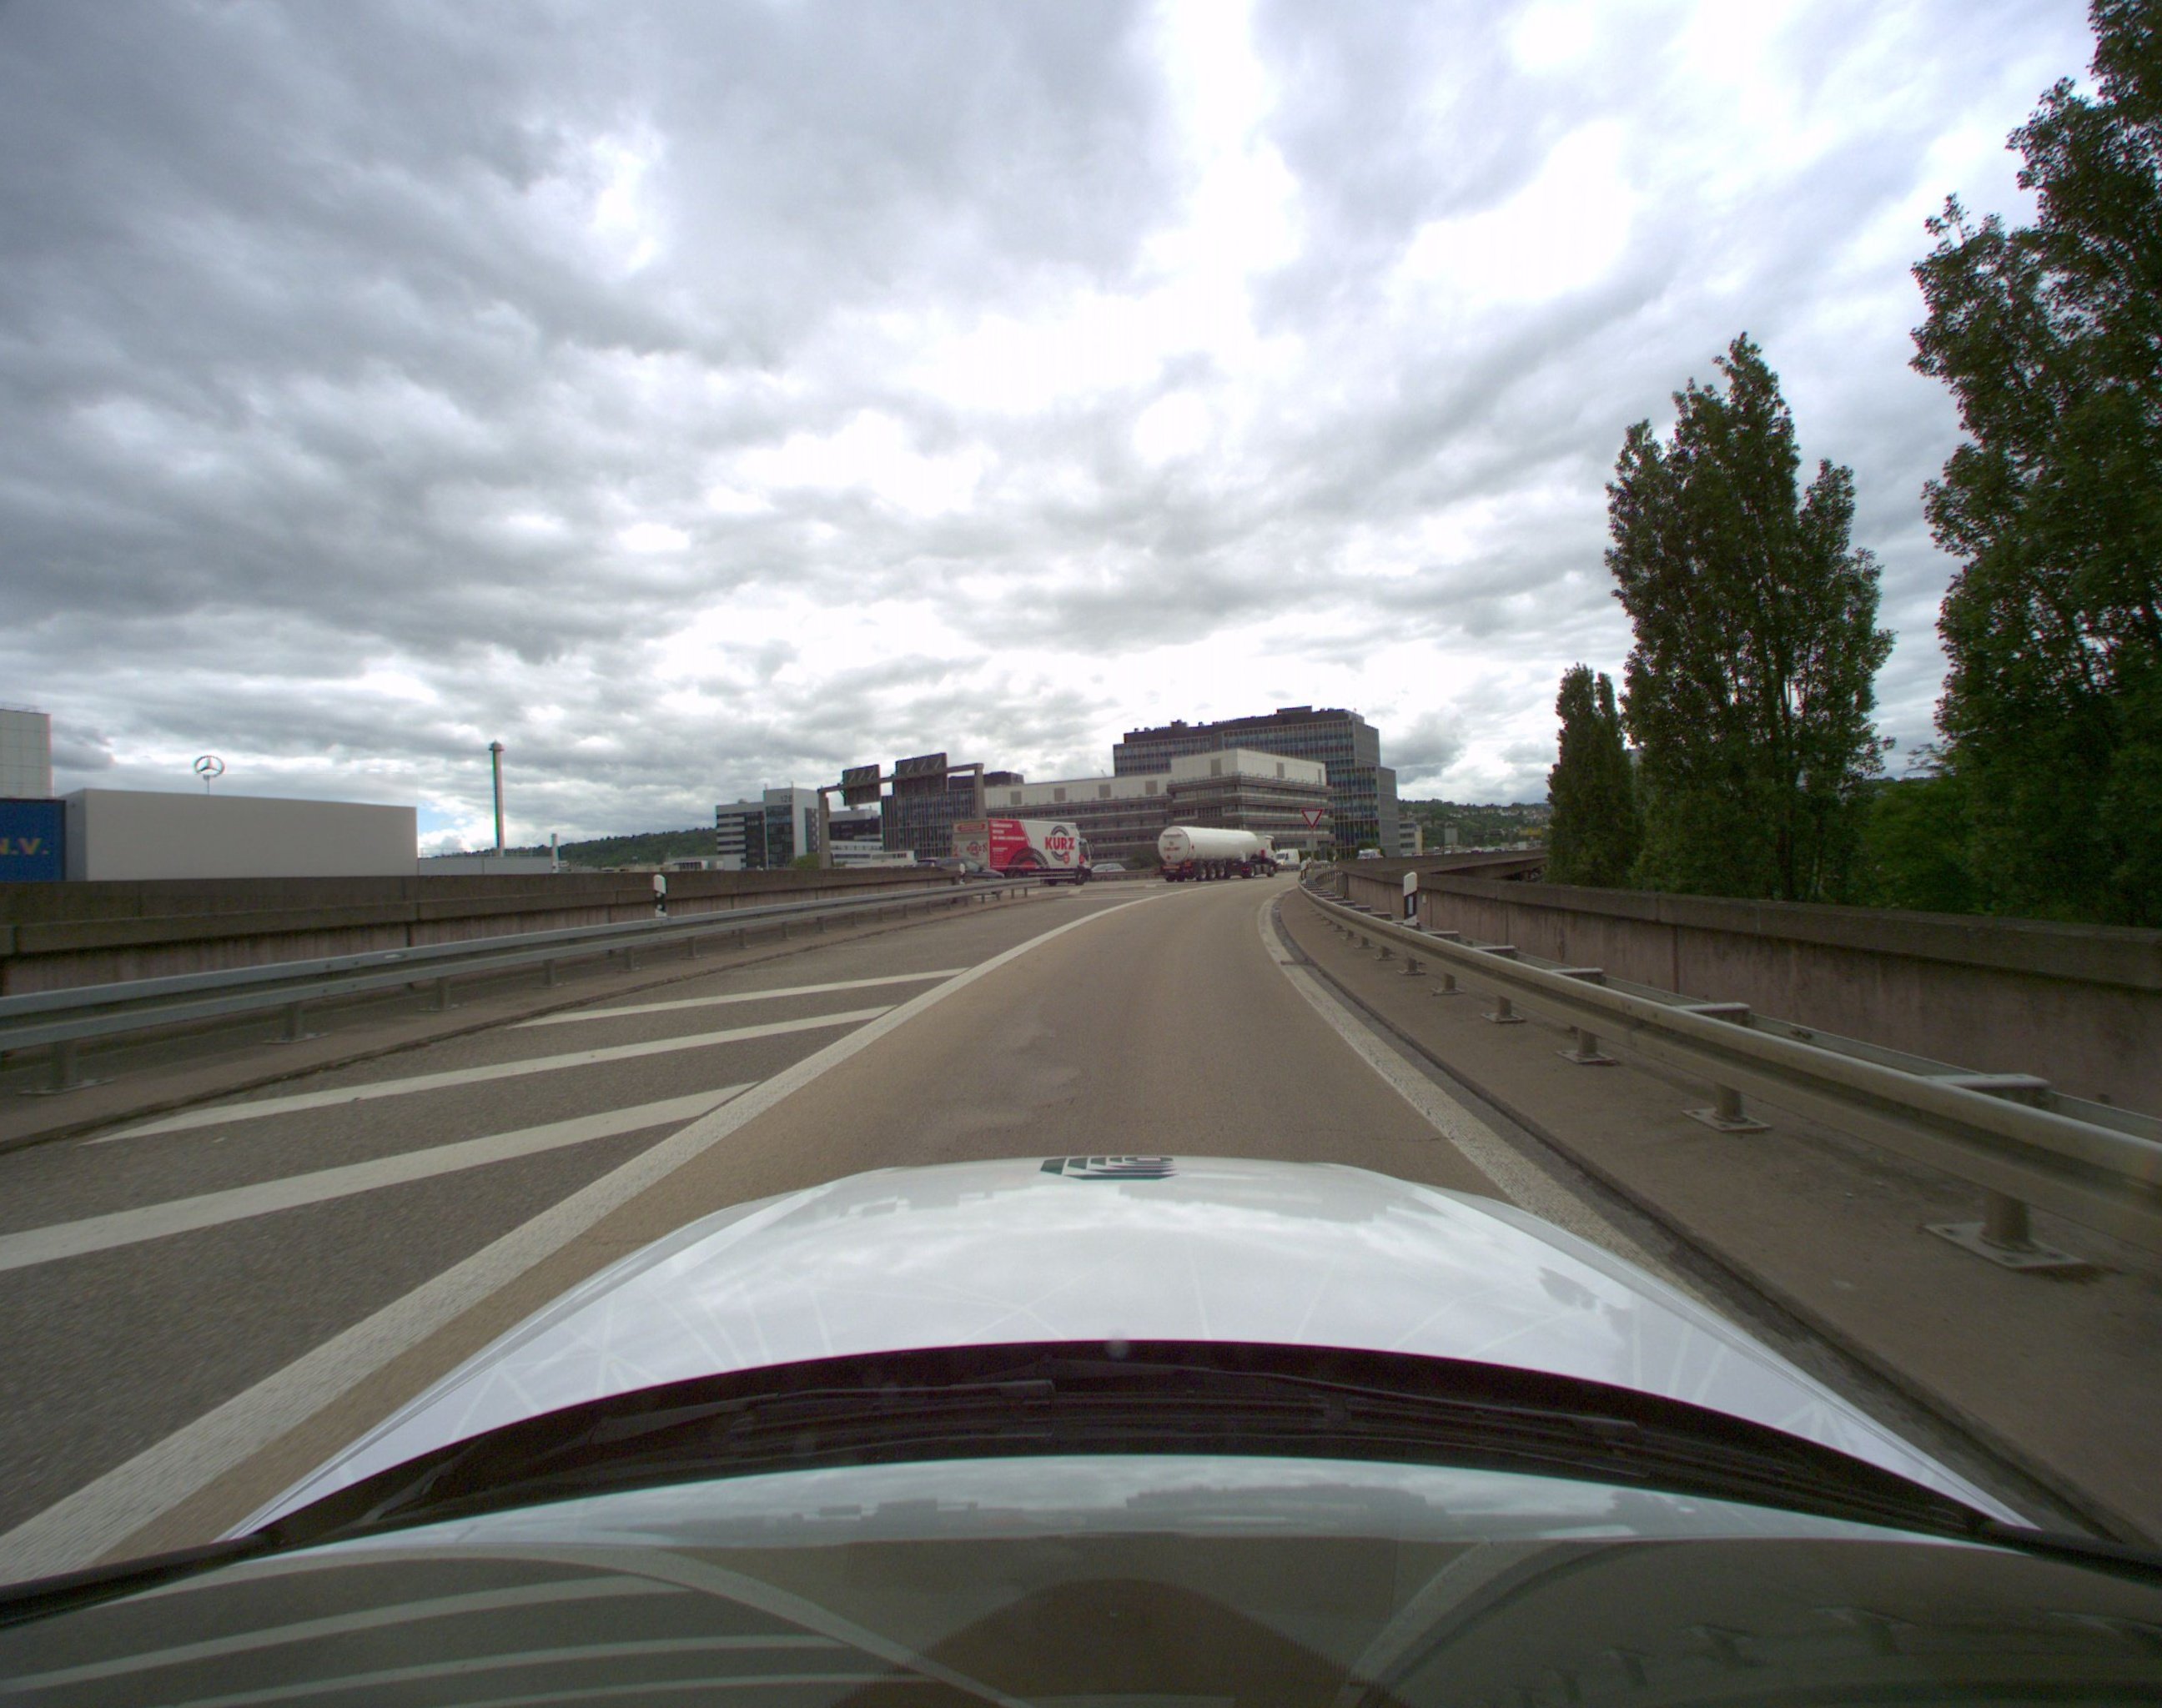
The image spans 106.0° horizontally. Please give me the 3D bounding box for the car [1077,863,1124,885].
[{"bbox_3d":[1.504,1.486,61.865,1.628,1.518,3.864,-3,-1,35],"label":"car"}]

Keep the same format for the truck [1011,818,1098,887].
[{"bbox_3d":[-1.459,-0.104,46.645,2.664,3.690,4.468,-3,-1,35],"label":"truck"}]

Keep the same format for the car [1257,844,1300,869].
[{"bbox_3d":[22.543,0.223,92.965,2.553,2.644,6.231,-2,-1,35],"label":"car"}]

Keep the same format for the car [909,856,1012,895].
[{"bbox_3d":[-5.011,0.833,34.288,1.828,1.505,4.292,0,0,35],"label":"car"}]

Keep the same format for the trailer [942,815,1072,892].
[{"bbox_3d":[-3.749,-0.060,43.310,2.664,3.690,7.360,-3,-1,34],"label":"trailer"}]

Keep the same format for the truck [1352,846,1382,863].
[{"bbox_3d":[47.130,0.020,134.058,2.466,2.626,7.395,-3,-1,37],"label":"truck"}]

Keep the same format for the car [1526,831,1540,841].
[{"bbox_3d":[81.265,-3.214,146.444,1.678,1.551,3.665,-3,-2,37],"label":"car"}]

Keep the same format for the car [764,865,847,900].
[{"bbox_3d":[-14.084,1.443,41.764,1.628,1.591,3.710,-3,-1,35],"label":"car"}]

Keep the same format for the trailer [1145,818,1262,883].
[{"bbox_3d":[8.303,-0.261,53.382,2.764,3.737,11.227,-3,-1,34],"label":"trailer"}]

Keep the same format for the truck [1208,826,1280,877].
[{"bbox_3d":[11.799,-0.184,58.479,2.742,3.430,6.003,-3,-1,35],"label":"truck"}]

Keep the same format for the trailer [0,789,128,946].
[{"bbox_3d":[-33.471,0.495,20.127,3.130,4.347,12.598,-3,-1,35],"label":"trailer"}]
